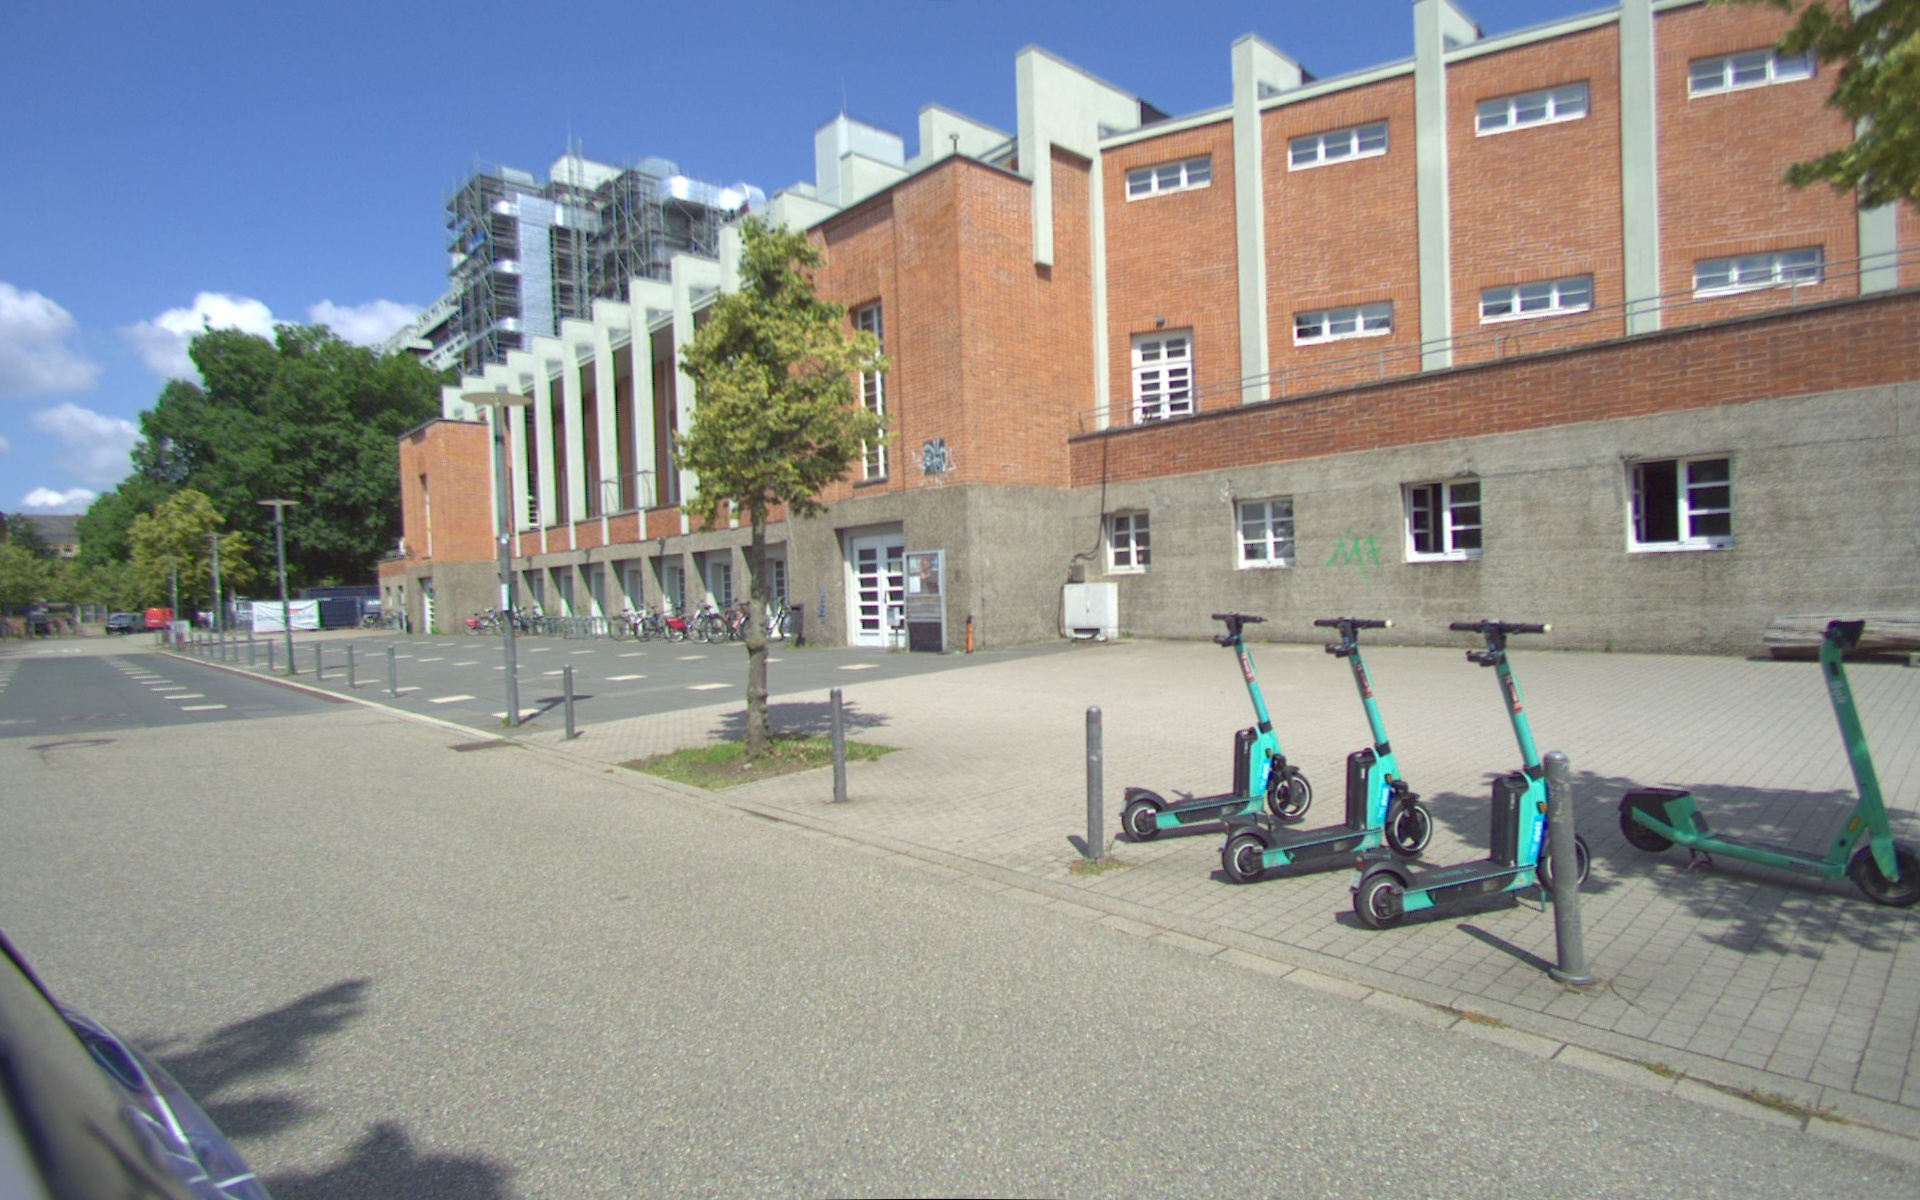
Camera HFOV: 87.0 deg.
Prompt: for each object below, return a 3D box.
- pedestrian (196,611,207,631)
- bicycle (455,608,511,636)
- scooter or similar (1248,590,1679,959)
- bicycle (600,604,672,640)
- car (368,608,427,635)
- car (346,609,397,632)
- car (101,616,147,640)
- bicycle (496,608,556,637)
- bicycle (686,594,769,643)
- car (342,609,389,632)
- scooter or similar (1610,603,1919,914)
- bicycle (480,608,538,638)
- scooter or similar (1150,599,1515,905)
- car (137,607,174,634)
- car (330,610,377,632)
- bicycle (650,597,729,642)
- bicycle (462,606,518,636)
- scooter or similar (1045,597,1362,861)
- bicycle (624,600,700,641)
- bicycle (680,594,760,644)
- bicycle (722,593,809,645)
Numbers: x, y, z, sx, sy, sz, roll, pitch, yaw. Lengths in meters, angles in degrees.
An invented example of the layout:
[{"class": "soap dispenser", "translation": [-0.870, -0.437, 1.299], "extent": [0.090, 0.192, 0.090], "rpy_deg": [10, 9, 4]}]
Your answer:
[{"class": "pedestrian", "translation": [-60.270, 1.693, 80.413], "extent": [0.632, 1.550, 0.454], "rpy_deg": [-3, 1, -32]}, {"class": "bicycle", "translation": [-19.242, 0.878, 40.818], "extent": [1.928, 1.037, 0.542], "rpy_deg": [-4, 1, -44]}, {"class": "scooter or similar", "translation": [1.998, 0.614, 4.031], "extent": [1.548, 1.234, 0.526], "rpy_deg": [-3, 1, -15]}, {"class": "bicycle", "translation": [-9.763, 0.660, 30.501], "extent": [1.928, 0.967, 0.685], "rpy_deg": [-4, 2, -44]}, {"class": "car", "translation": [-28.249, 1.082, 50.839], "extent": [2.491, 1.189, 0.633], "rpy_deg": [-4, 1, -41]}, {"class": "car", "translation": [-33.198, 1.143, 57.069], "extent": [2.333, 1.189, 0.795], "rpy_deg": [-4, 1, -41]}, {"class": "car", "translation": [-79.178, 2.634, 95.943], "extent": [1.992, 2.107, 4.447], "rpy_deg": [-3, 1, -22]}, {"class": "bicycle", "translation": [-16.000, 0.822, 37.317], "extent": [1.928, 0.947, 0.569], "rpy_deg": [-4, 1, -44]}, {"class": "bicycle", "translation": [-5.947, 0.450, 26.008], "extent": [1.997, 1.134, 0.593], "rpy_deg": [-4, 1, -42]}, {"class": "car", "translation": [-34.327, 1.185, 58.458], "extent": [2.255, 1.189, 0.525], "rpy_deg": [-4, 1, -41]}, {"class": "scooter or similar", "translation": [3.669, 0.607, 4.339], "extent": [0.555, 1.157, 1.354], "rpy_deg": [-3, 2, -31]}, {"class": "bicycle", "translation": [-17.071, 0.863, 38.338], "extent": [1.928, 1.037, 0.530], "rpy_deg": [-4, 1, -44]}, {"class": "scooter or similar", "translation": [1.761, 0.652, 4.809], "extent": [1.548, 1.234, 0.566], "rpy_deg": [-3, 1, -15]}, {"class": "car", "translation": [-61.007, 1.574, 76.790], "extent": [1.883, 1.896, 4.009], "rpy_deg": [-4, 1, -36]}, {"class": "car", "translation": [-36.063, 1.244, 60.199], "extent": [2.291, 1.189, 0.480], "rpy_deg": [-4, 1, -41]}, {"class": "bicycle", "translation": [-7.428, 0.527, 27.856], "extent": [1.986, 1.090, 0.622], "rpy_deg": [-4, 1, -44]}, {"class": "bicycle", "translation": [-18.627, 0.826, 40.135], "extent": [1.928, 1.037, 0.519], "rpy_deg": [-4, 1, -44]}, {"class": "scooter or similar", "translation": [1.315, 0.641, 5.506], "extent": [1.548, 1.234, 0.572], "rpy_deg": [-3, 1, -15]}, {"class": "bicycle", "translation": [-8.605, 0.580, 29.255], "extent": [1.998, 1.069, 0.664], "rpy_deg": [-4, 1, -44]}, {"class": "bicycle", "translation": [-6.298, 0.490, 26.654], "extent": [1.996, 1.134, 0.439], "rpy_deg": [-5, 3, -39]}, {"class": "bicycle", "translation": [-4.705, 0.443, 24.620], "extent": [1.998, 1.134, 0.667], "rpy_deg": [-4, 1, -44]}]
